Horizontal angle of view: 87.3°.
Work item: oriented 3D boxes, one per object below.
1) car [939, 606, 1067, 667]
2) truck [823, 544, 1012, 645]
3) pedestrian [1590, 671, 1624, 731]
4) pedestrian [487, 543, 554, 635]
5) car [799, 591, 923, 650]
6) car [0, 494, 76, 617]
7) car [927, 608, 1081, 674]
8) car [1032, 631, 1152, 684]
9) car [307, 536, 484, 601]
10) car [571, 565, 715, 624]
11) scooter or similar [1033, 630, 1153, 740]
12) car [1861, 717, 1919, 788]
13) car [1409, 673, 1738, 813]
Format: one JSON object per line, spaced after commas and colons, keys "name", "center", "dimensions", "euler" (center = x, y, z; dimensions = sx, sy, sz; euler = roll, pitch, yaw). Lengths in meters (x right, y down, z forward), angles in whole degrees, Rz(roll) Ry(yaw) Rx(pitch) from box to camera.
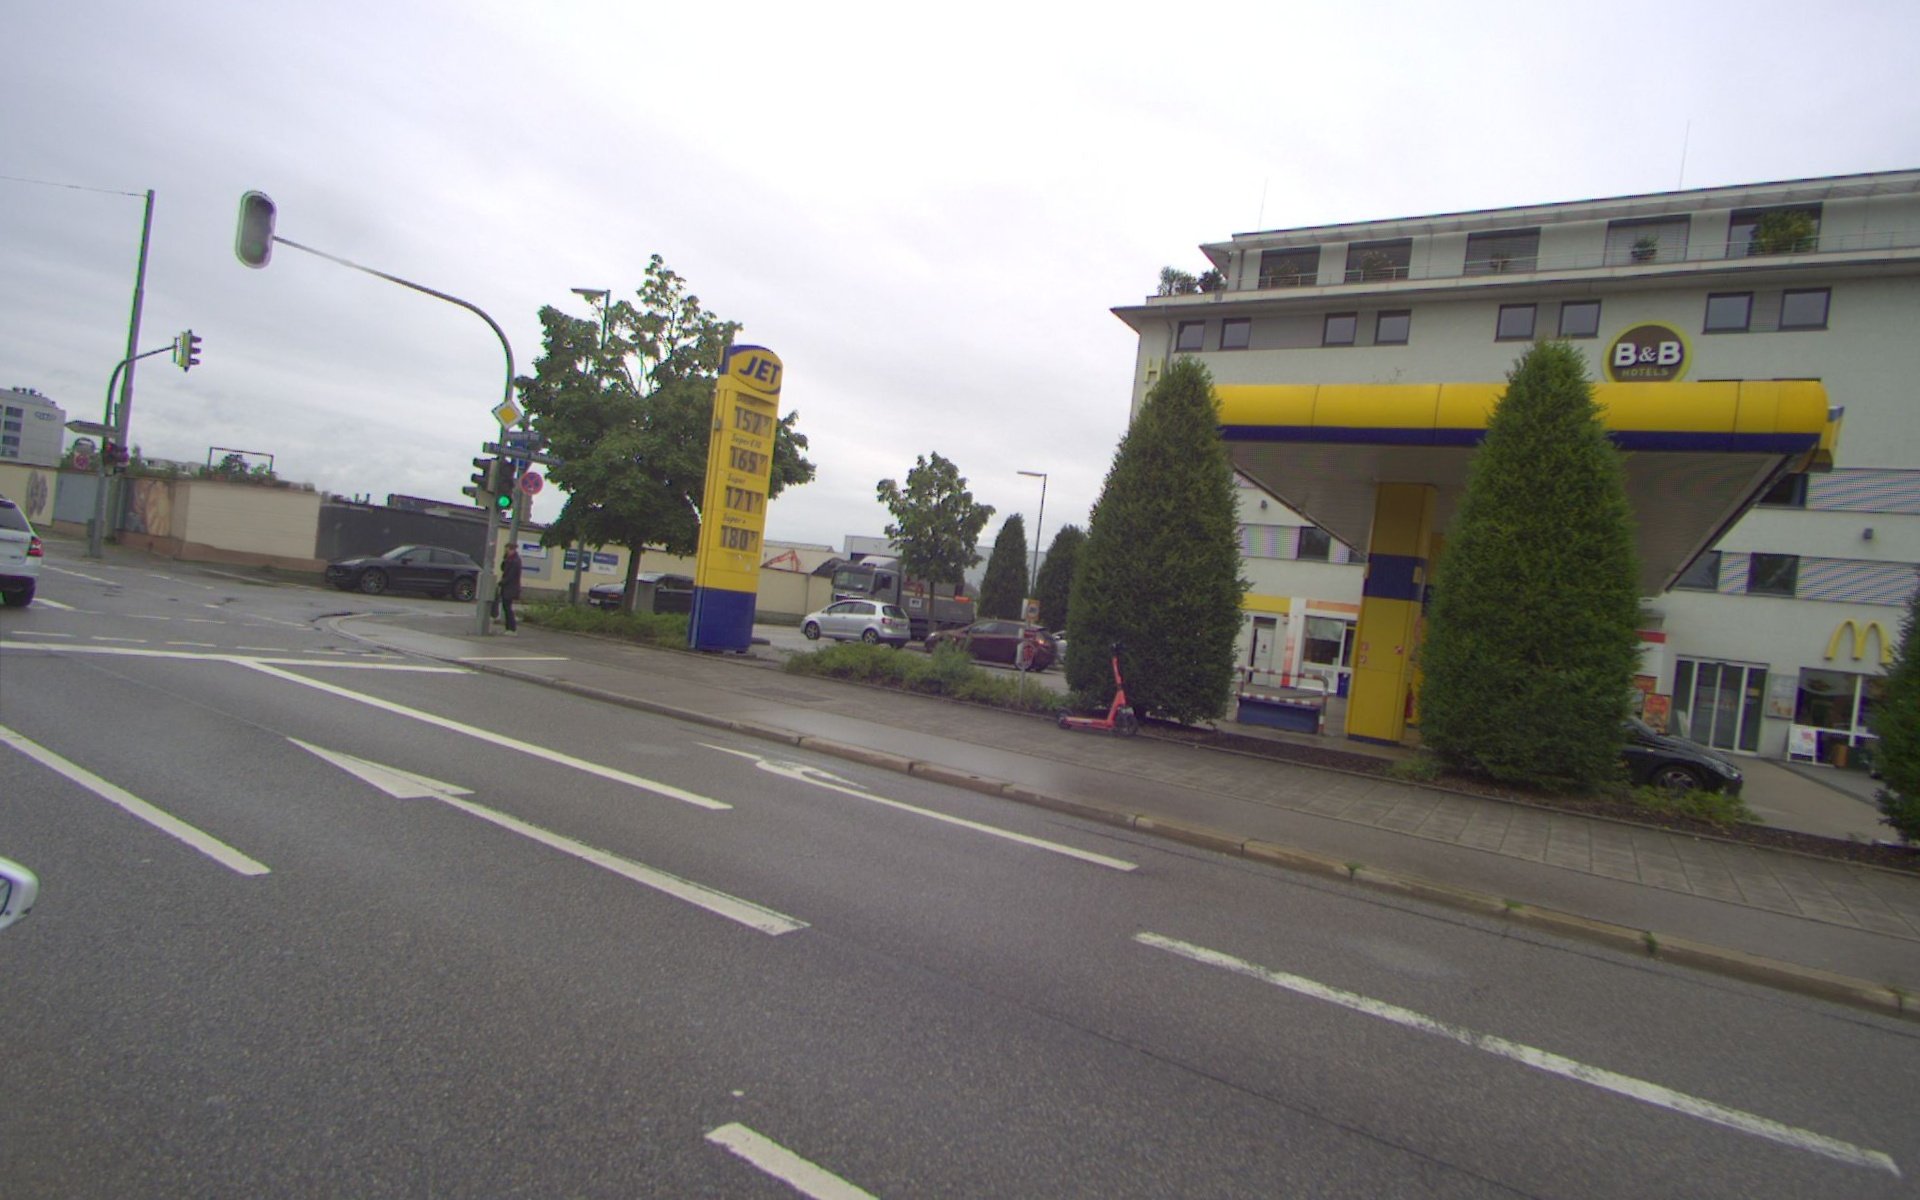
{"name": "car", "center": [1.430, 1.220, 33.991], "dimensions": [3.914, 1.503, 1.625], "euler": [7, -1, 34]}
{"name": "truck", "center": [-1.735, -0.064, 50.807], "dimensions": [2.568, 3.903, 11.903], "euler": [7, 0, 35]}
{"name": "pedestrian", "center": [20.007, 3.116, 31.120], "dimensions": [0.632, 1.749, 0.708], "euler": [7, -1, 28]}
{"name": "pedestrian", "center": [-8.276, -0.199, 18.956], "dimensions": [0.676, 1.636, 0.802], "euler": [7, 3, 31]}
{"name": "car", "center": [-3.439, 0.701, 34.789], "dimensions": [3.911, 1.503, 1.627], "euler": [7, -1, 30]}
{"name": "car", "center": [-14.031, -0.820, 13.617], "dimensions": [4.429, 1.485, 1.881], "euler": [7, -2, 33]}
{"name": "car", "center": [1.349, 1.260, 30.989], "dimensions": [4.283, 1.400, 1.705], "euler": [7, -1, 22]}
{"name": "car", "center": [5.201, 2.258, 39.745], "dimensions": [4.123, 1.495, 1.906], "euler": [7, -2, 32]}
{"name": "car", "center": [-17.311, -0.927, 31.055], "dimensions": [1.968, 1.445, 4.252], "euler": [7, 0, 35]}
{"name": "car", "center": [-11.308, -0.159, 36.218], "dimensions": [1.968, 1.551, 4.620], "euler": [7, 0, 35]}
{"name": "scooter or similar", "center": [1.776, 1.124, 13.594], "dimensions": [1.522, 1.259, 0.355], "euler": [7, 3, 37]}
{"name": "car", "center": [24.671, 3.938, 25.570], "dimensions": [1.678, 1.606, 3.994], "euler": [7, -1, 30]}
{"name": "car", "center": [9.156, 2.091, 15.329], "dimensions": [3.933, 1.347, 1.798], "euler": [7, -2, 31]}
